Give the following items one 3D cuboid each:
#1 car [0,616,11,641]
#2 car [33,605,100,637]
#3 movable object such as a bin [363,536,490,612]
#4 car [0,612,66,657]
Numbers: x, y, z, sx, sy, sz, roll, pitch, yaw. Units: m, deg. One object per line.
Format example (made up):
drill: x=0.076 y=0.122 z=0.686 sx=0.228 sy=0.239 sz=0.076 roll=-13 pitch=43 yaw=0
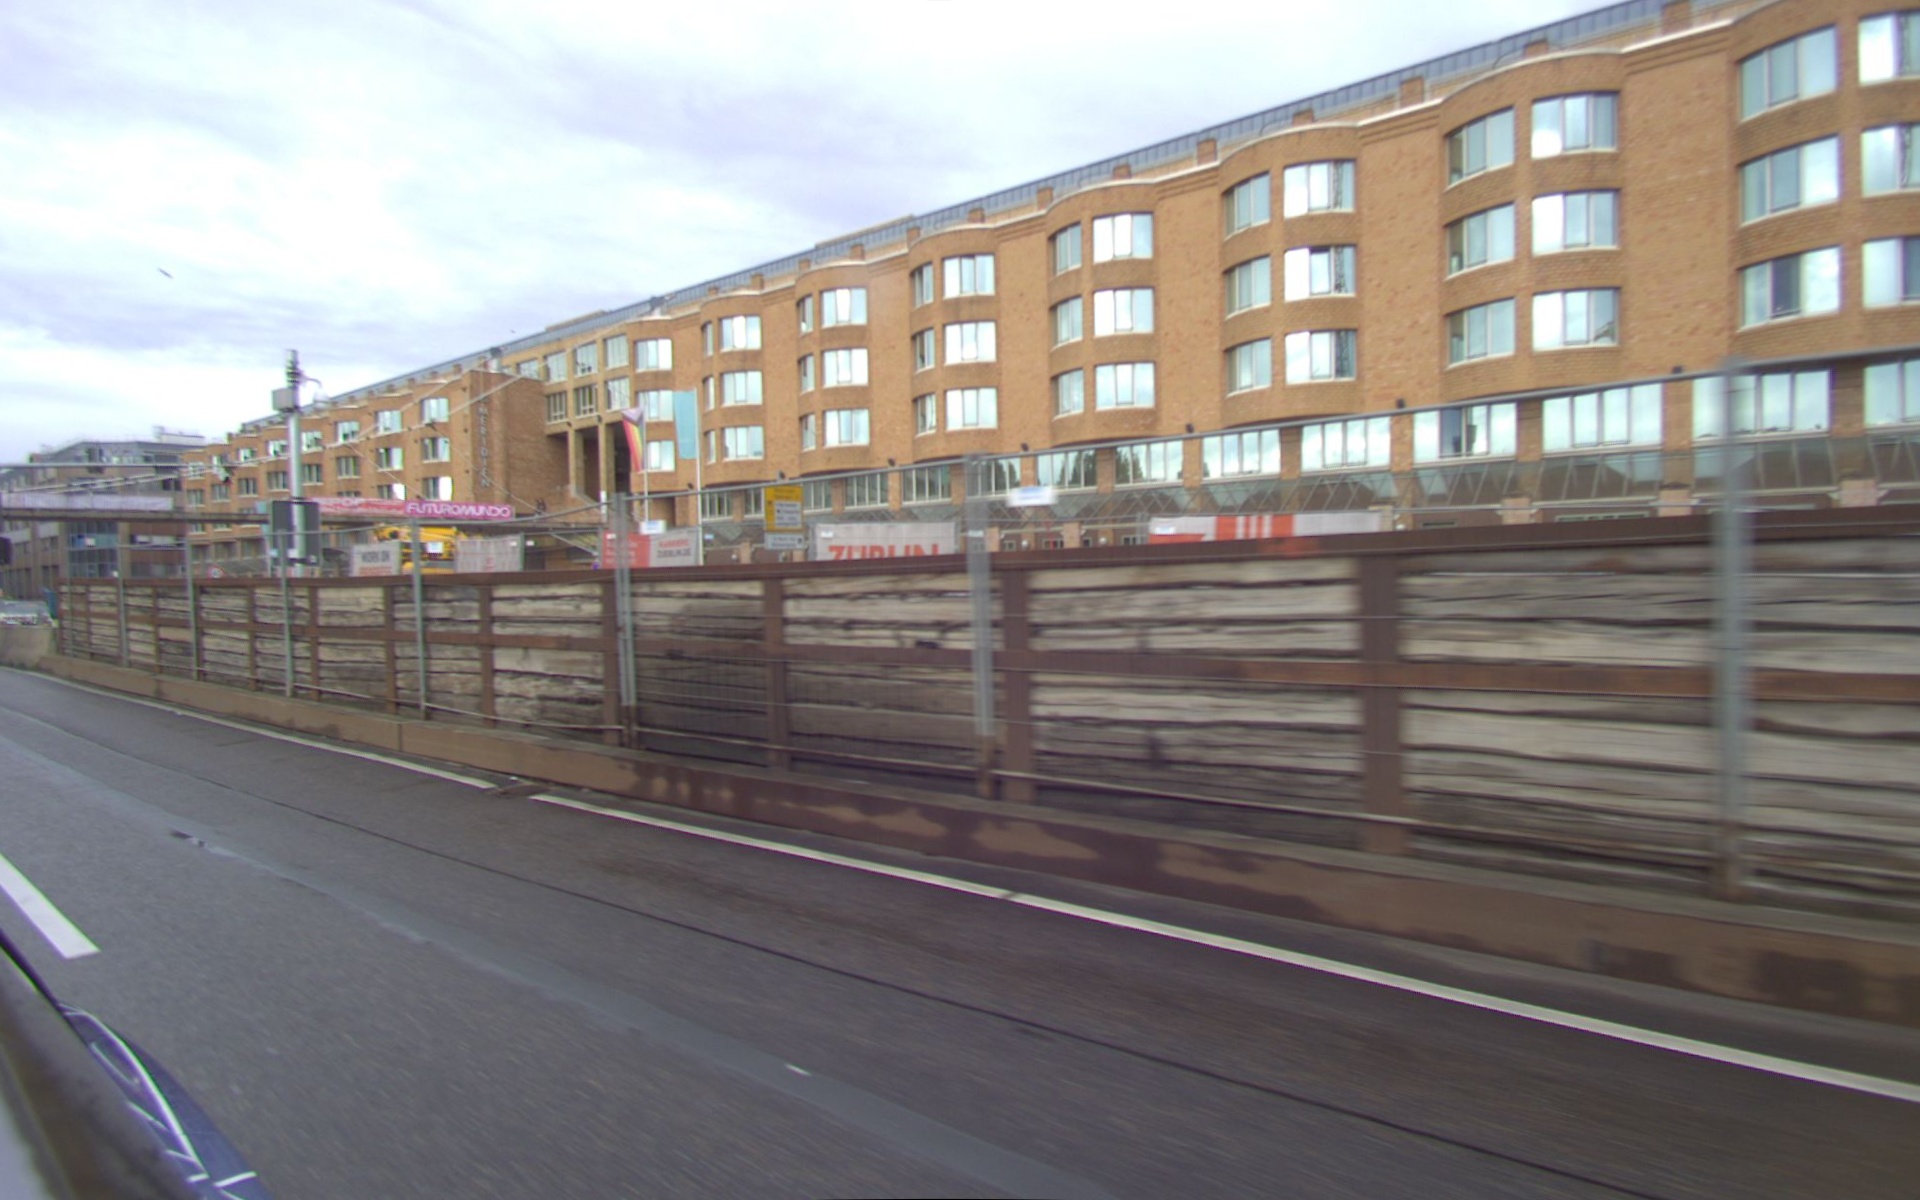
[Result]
car: x=-74.524 y=2.222 z=77.563 sx=5.293 sy=1.835 sz=1.789 roll=-3 pitch=-1 yaw=38
car: x=-45.997 y=1.086 z=52.075 sx=4.515 sy=1.561 sz=1.731 roll=-1 pitch=0 yaw=37
movable object such as a bin: x=-17.917 y=-0.808 z=33.950 sx=4.283 sy=2.295 sz=2.008 roll=-1 pitch=-3 yaw=36
car: x=-35.515 y=1.288 z=38.279 sx=4.350 sy=1.545 sz=1.751 roll=-2 pitch=0 yaw=38
